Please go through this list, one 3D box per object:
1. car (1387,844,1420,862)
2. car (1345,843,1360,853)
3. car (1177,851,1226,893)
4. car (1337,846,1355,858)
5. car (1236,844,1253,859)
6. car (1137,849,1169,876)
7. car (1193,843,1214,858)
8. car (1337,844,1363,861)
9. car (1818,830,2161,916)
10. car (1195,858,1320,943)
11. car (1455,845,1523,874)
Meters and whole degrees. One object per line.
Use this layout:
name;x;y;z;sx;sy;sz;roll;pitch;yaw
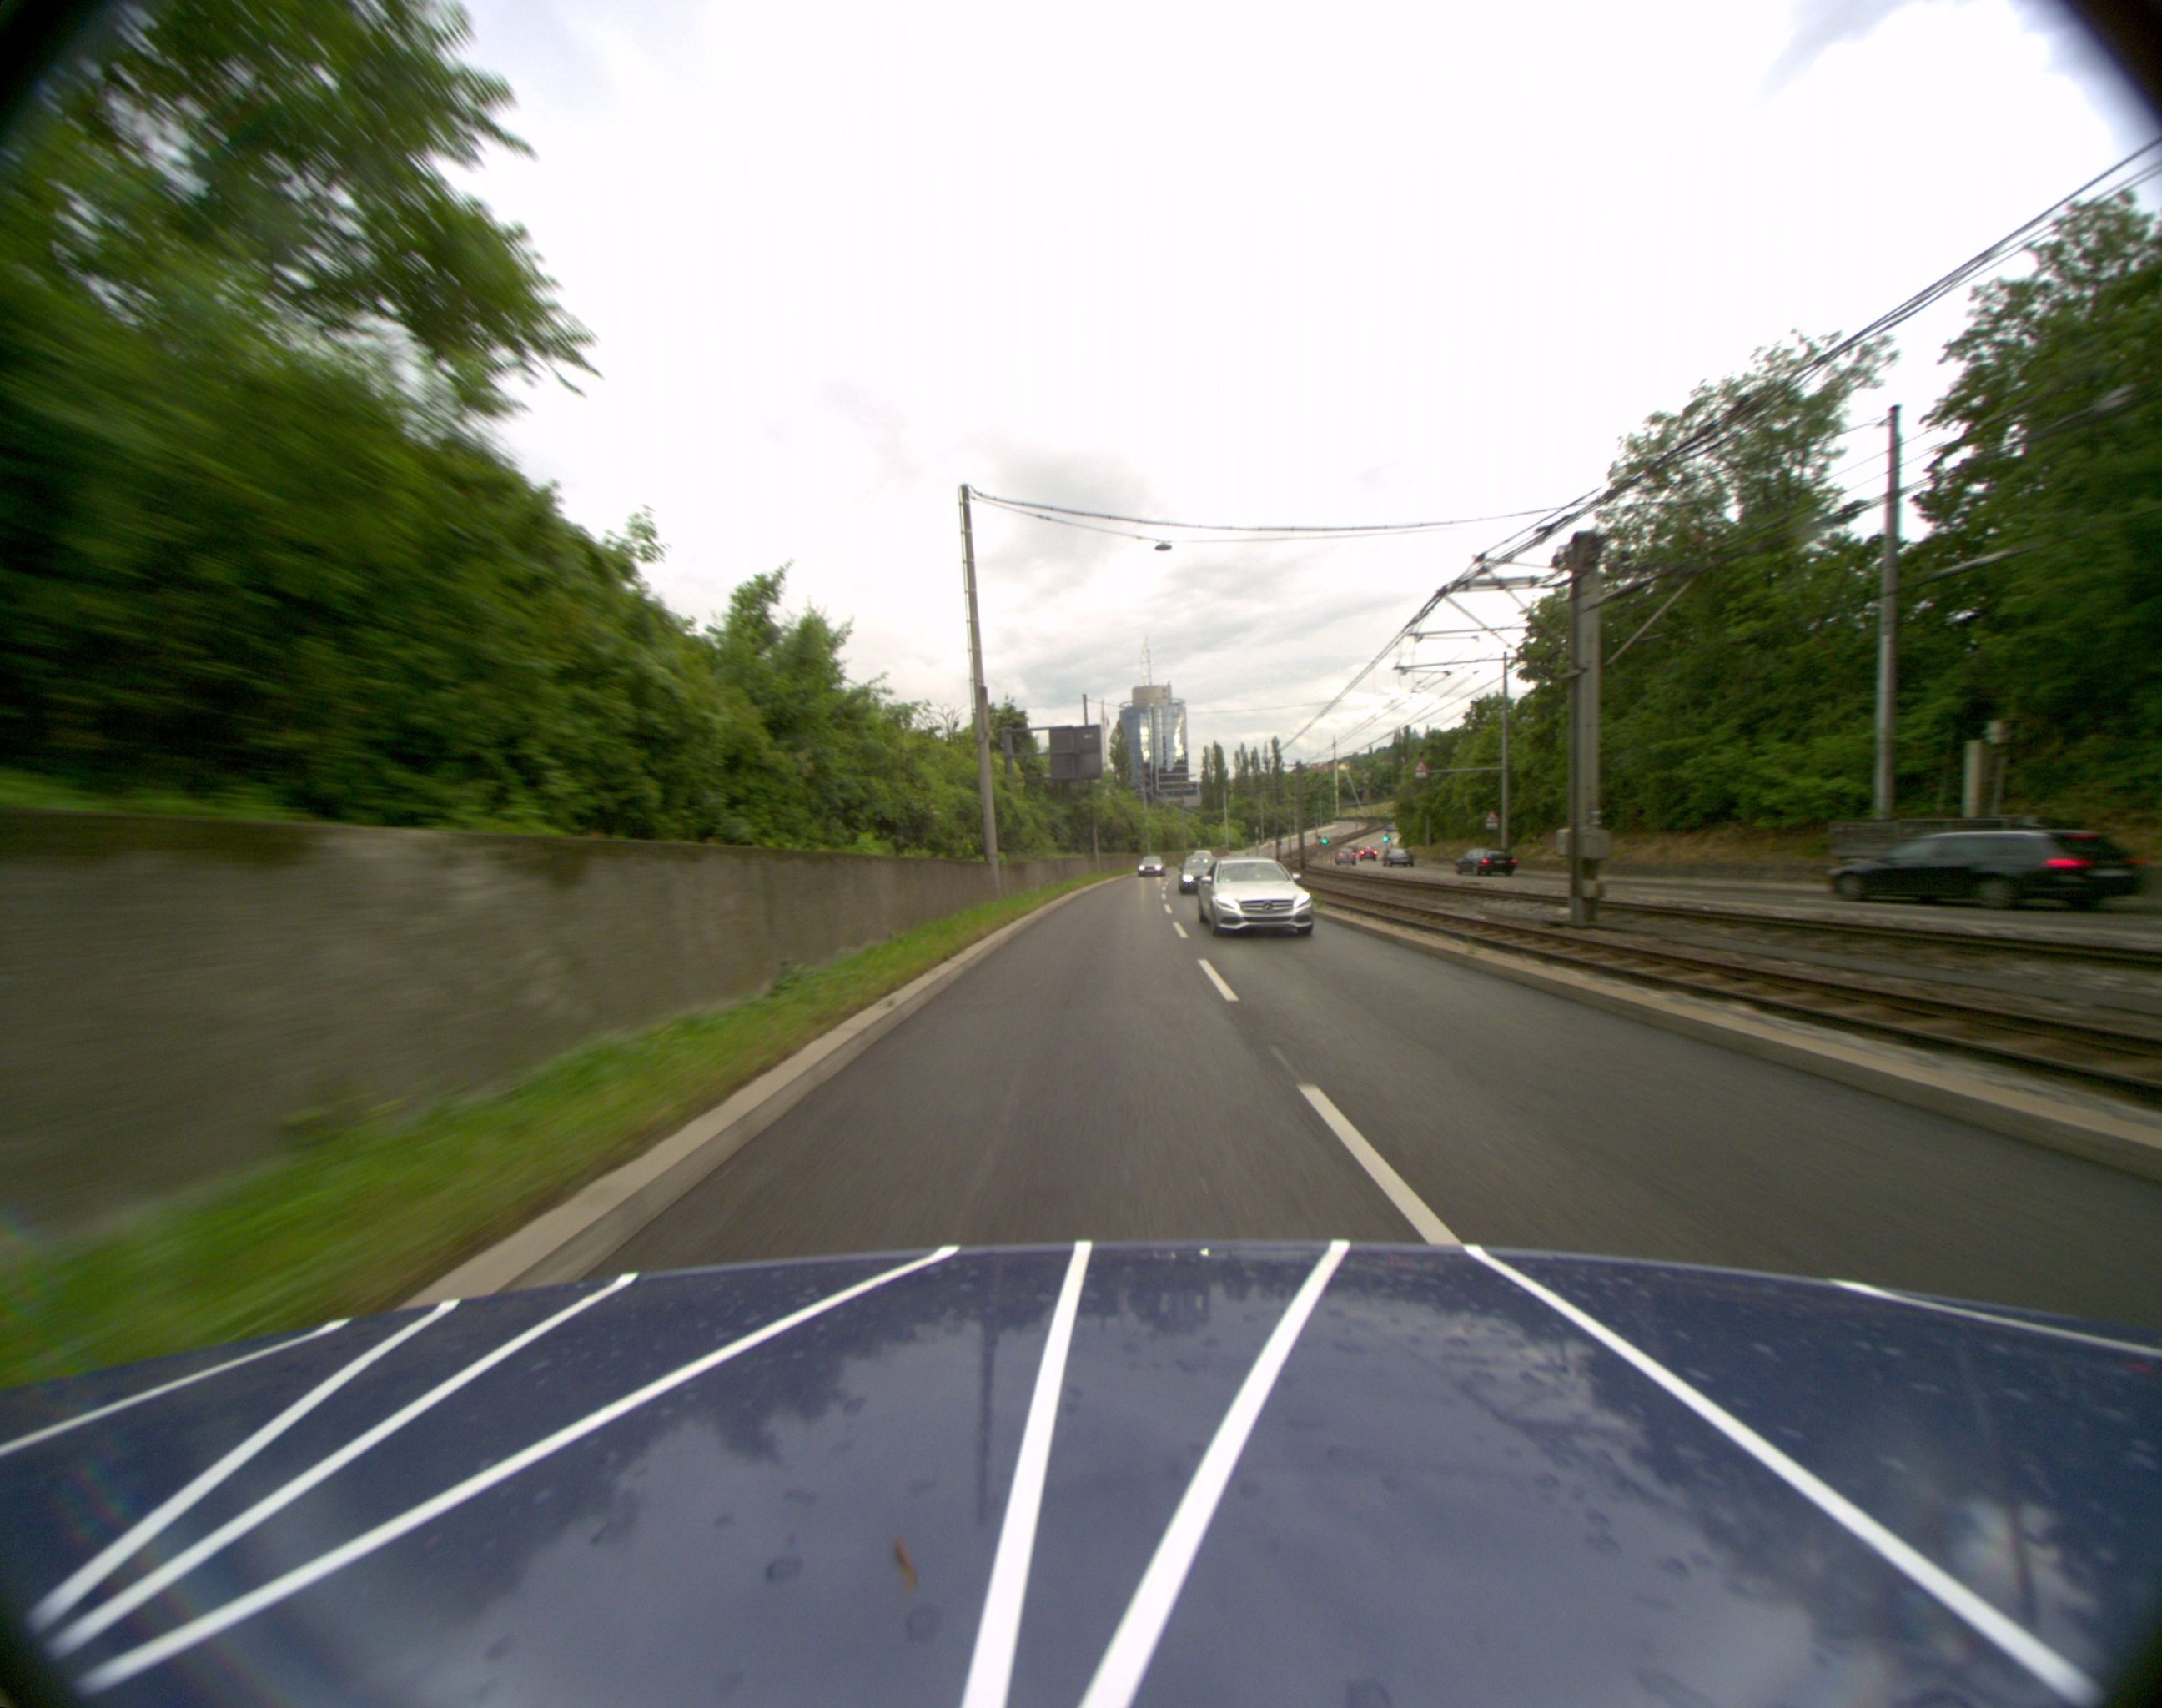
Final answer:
car;25.337;-0.083;59.885;1.804;1.415;4.467;0;0;15
car;45.195;-1.013;126.502;2.211;1.449;4.469;-2;0;21
car;4.711;0.667;29.950;1.728;1.462;3.889;-3;0;8
car;27.496;-0.249;78.971;1.665;1.193;4.468;-2;0;18
car;23.446;-0.385;109.004;1.996;2.002;4.499;-2;0;16
car;5.087;0.591;53.447;1.808;1.502;4.001;-4;3;11
car;15.437;-0.446;95.732;1.807;1.502;4.003;-3;3;19
car;24.946;-0.129;70.608;1.908;1.449;4.467;-1;0;15
car;17.824;0.313;15.198;1.829;1.462;4.412;-1;0;-1
car;3.401;0.829;15.419;1.860;1.395;4.316;-1;1;5
car;20.715;0.245;38.793;1.896;1.373;4.456;-1;0;12
